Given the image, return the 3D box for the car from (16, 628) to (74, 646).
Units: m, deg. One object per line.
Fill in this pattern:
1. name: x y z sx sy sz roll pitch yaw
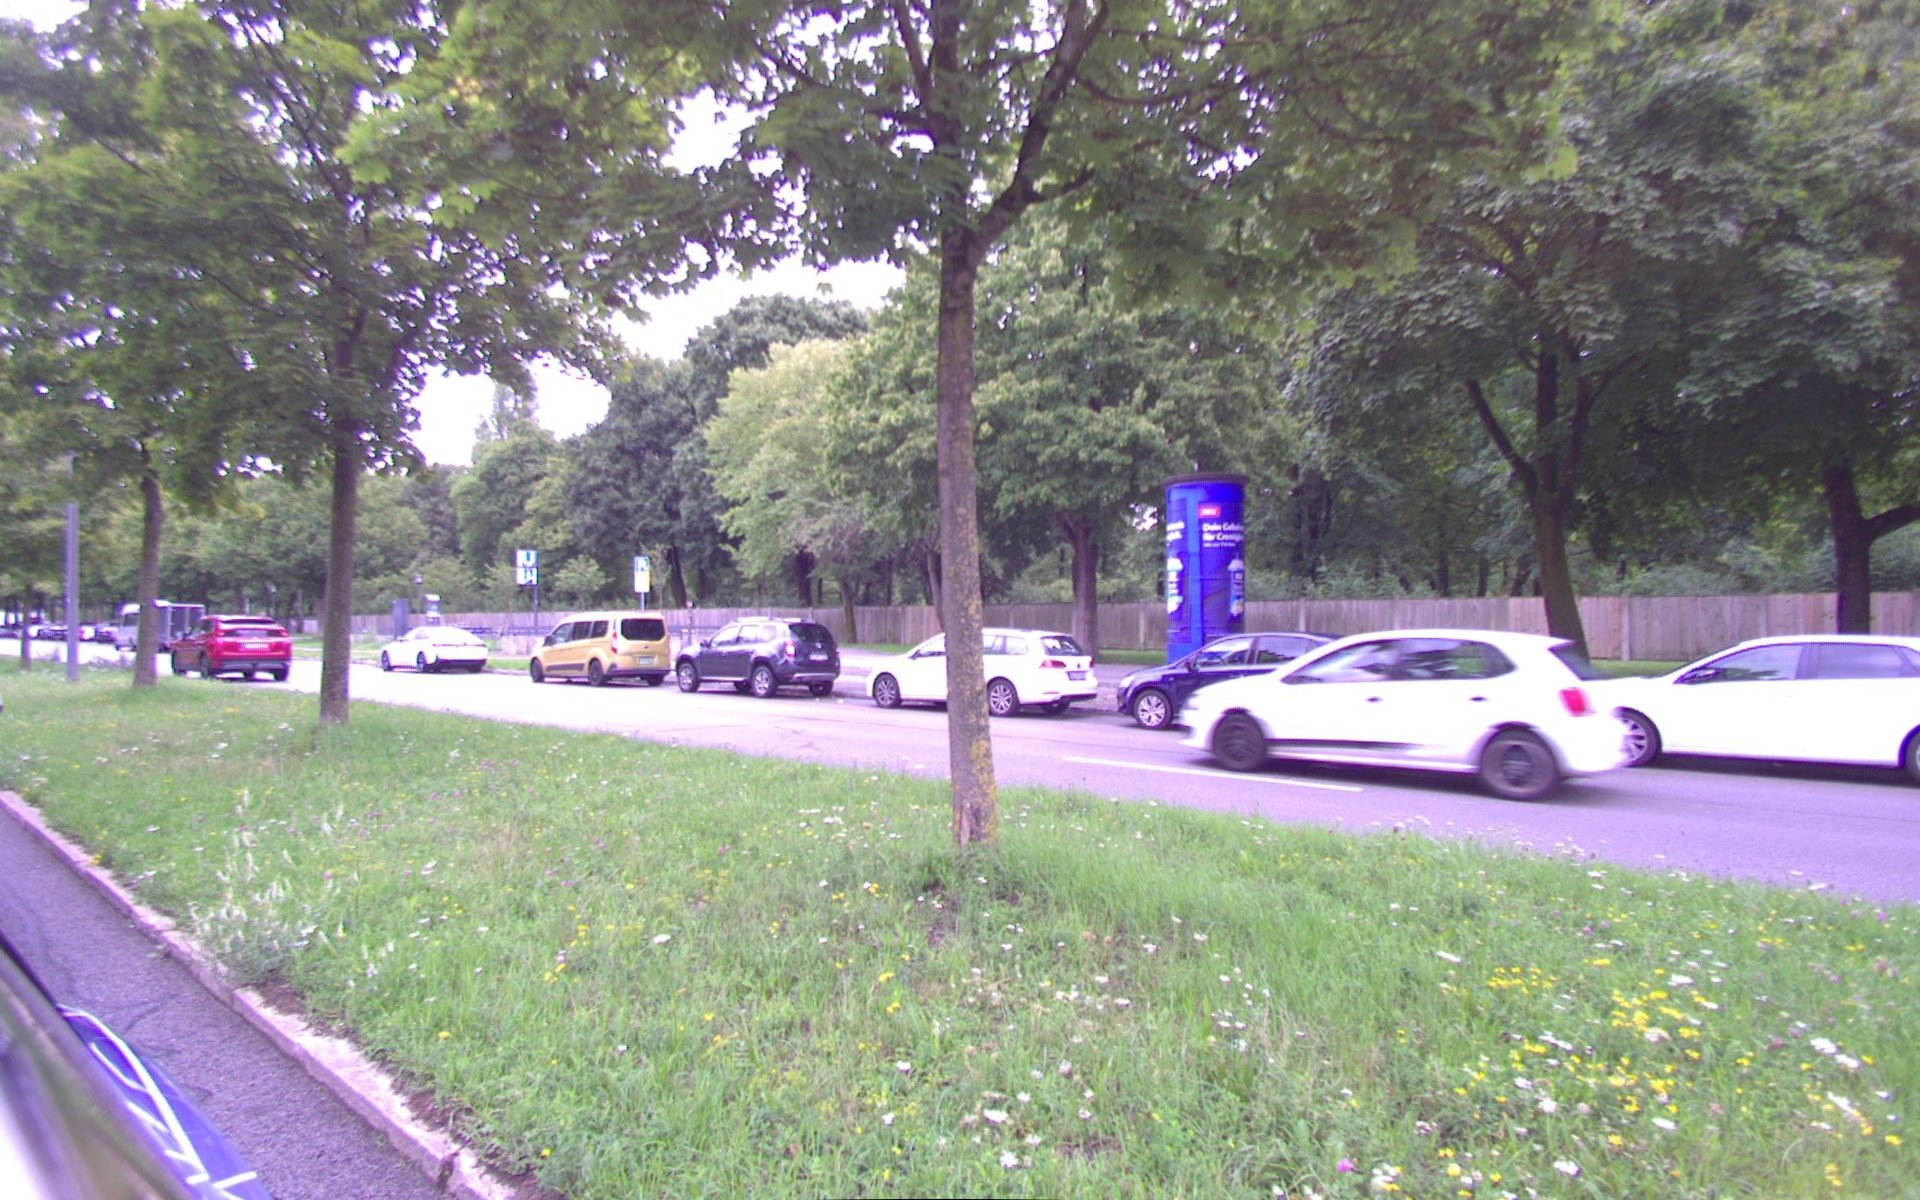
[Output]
1. car: -90.385 3.651 99.992 1.869 1.569 3.990 -2 0 8

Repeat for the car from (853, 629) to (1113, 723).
1. car: 0.316 1.268 17.953 4.529 1.461 1.744 -2 -3 40

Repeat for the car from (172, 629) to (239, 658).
1. car: -37.956 2.182 50.866 4.235 1.394 1.781 -2 -3 41

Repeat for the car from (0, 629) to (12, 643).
1. car: -107.061 4.034 112.834 4.170 1.454 1.864 -1 0 45

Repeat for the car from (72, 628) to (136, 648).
1. car: -73.625 3.241 87.088 1.722 1.466 3.984 -2 0 13

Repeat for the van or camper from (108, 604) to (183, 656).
1. van or camper: -47.317 1.741 58.719 7.542 2.859 2.014 -2 -3 41

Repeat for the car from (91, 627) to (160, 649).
1. car: -64.710 2.929 78.534 1.779 1.497 3.993 -2 0 6

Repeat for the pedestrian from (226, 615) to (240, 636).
1. pedestrian: -63.424 2.248 88.259 0.872 1.781 0.761 -1 -2 37

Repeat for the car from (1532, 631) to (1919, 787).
1. car: 8.679 1.073 10.783 4.276 1.455 1.590 -2 -3 41

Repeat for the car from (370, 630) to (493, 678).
1. car: -17.407 1.730 33.218 4.871 1.484 1.838 -2 -3 40

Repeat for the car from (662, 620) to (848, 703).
1. car: -4.544 1.295 22.165 4.252 1.658 1.719 -2 -3 40

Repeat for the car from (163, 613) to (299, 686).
1. car: -18.744 1.251 25.967 4.243 1.709 1.884 -1 -3 41

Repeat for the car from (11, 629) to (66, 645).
1. car: -92.873 3.725 102.092 1.574 1.376 3.988 -1 0 10

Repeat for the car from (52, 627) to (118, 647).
1. car: -76.407 3.207 88.421 1.872 1.569 3.984 -2 0 13

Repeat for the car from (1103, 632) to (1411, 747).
1. car: 4.131 1.177 14.385 3.892 1.428 1.597 -1 -3 38

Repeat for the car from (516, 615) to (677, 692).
1. car: -9.417 1.341 26.008 4.815 1.796 1.795 -2 -3 42

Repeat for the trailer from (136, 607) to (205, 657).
1. trailer: -42.697 1.741 54.703 4.656 2.610 1.996 -2 -3 41

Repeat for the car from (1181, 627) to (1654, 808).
1. car: 4.215 0.974 9.656 3.835 1.385 1.602 -1 -3 40
